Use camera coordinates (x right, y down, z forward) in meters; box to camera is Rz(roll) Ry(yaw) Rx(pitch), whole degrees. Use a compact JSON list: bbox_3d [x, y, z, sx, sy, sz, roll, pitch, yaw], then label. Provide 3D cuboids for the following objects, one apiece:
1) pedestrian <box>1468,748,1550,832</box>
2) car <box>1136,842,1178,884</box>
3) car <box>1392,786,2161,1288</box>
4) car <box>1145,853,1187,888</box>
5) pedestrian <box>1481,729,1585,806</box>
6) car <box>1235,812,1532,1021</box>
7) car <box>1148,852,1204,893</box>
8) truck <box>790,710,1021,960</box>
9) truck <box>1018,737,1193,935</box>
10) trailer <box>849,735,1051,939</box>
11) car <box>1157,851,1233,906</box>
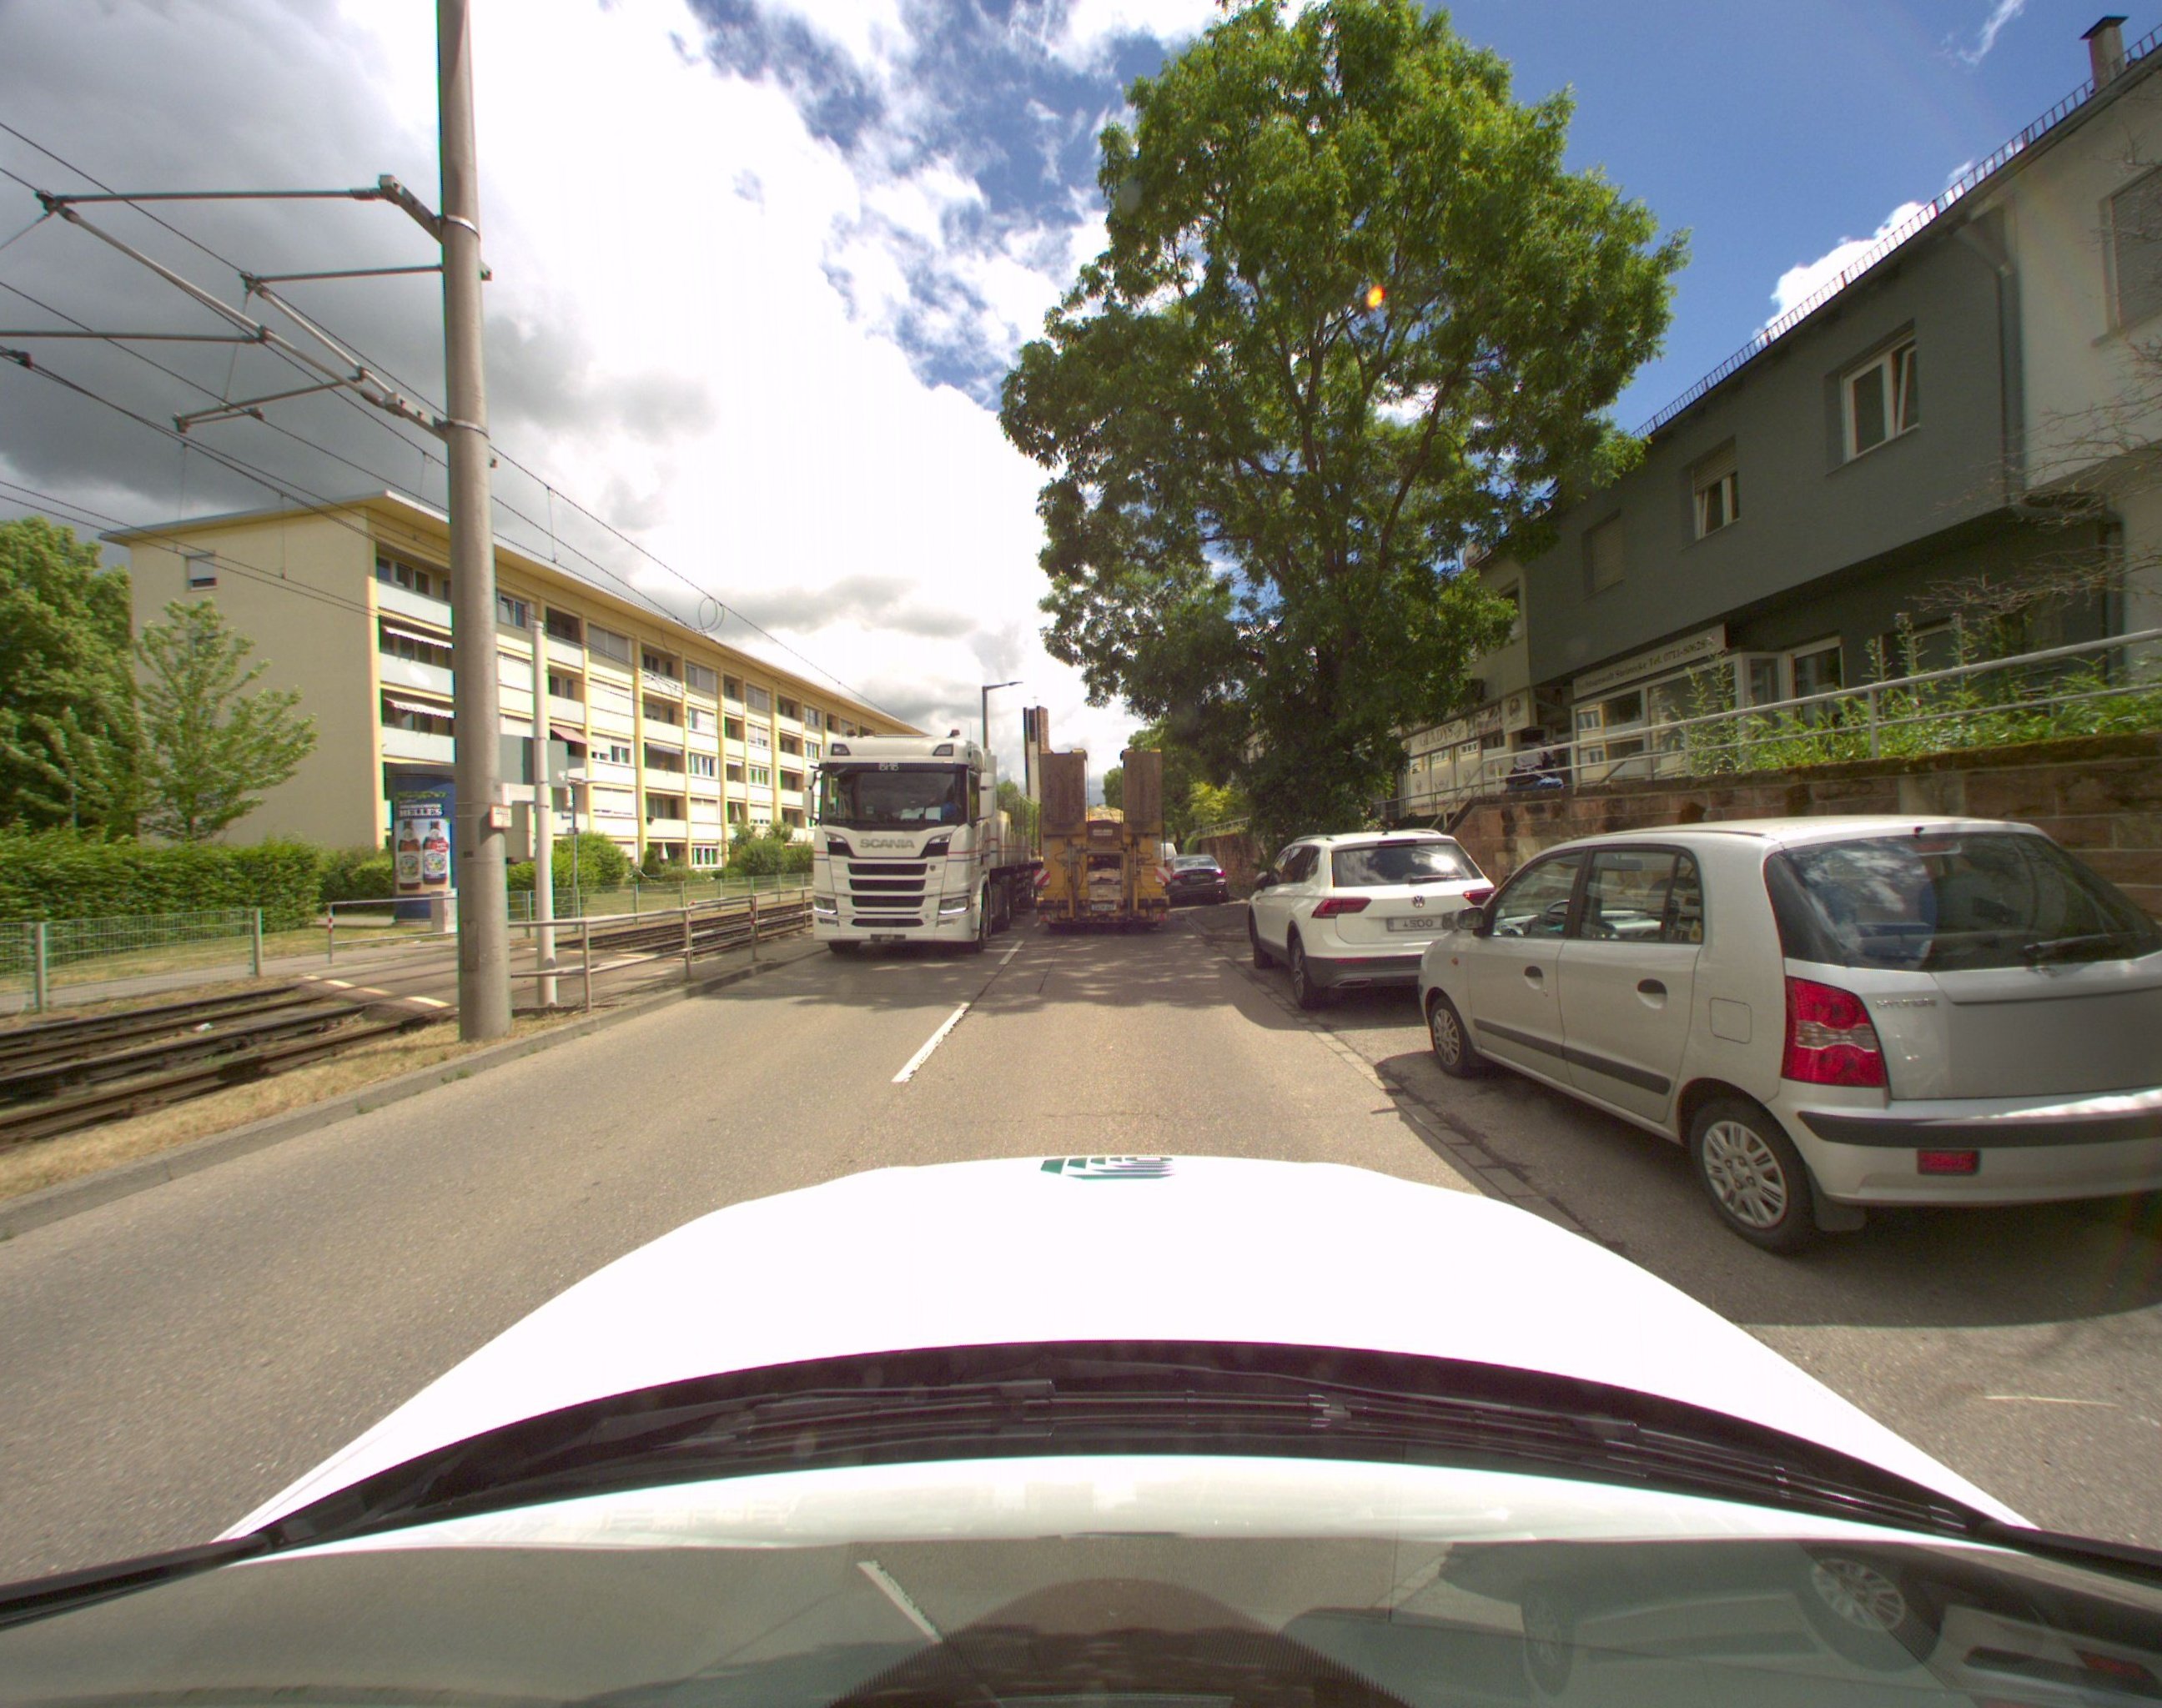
[{"bbox_3d":[5.245,-0.767,10.013,0.640,0.945,0.616,-4,0,0],"label":"pedestrian"},{"bbox_3d":[3.893,0.443,42.377,1.793,1.968,4.591,-3,0,2],"label":"car"},{"bbox_3d":[3.133,0.559,4.327,1.576,1.552,3.474,-2,0,-1],"label":"car"},{"bbox_3d":[3.809,0.706,36.960,1.614,1.405,3.652,-3,0,3],"label":"car"},{"bbox_3d":[5.195,-0.981,9.402,0.792,0.790,0.705,-2,0,0],"label":"pedestrian"},{"bbox_3d":[2.972,0.515,9.154,1.816,1.682,4.580,-3,0,3],"label":"car"},{"bbox_3d":[3.631,0.673,31.776,1.685,1.405,4.068,-3,0,0],"label":"car"},{"bbox_3d":[-2.757,-0.295,14.829,2.688,3.580,6.147,-1,0,1],"label":"truck"},{"bbox_3d":[0.619,-0.369,21.219,3.112,3.564,12.464,-2,0,2],"label":"truck"},{"bbox_3d":[-2.574,-0.337,21.276,2.688,3.580,13.679,-1,0,1],"label":"trailer"},{"bbox_3d":[3.338,0.681,24.644,1.829,1.405,4.417,-3,0,3],"label":"car"}]
